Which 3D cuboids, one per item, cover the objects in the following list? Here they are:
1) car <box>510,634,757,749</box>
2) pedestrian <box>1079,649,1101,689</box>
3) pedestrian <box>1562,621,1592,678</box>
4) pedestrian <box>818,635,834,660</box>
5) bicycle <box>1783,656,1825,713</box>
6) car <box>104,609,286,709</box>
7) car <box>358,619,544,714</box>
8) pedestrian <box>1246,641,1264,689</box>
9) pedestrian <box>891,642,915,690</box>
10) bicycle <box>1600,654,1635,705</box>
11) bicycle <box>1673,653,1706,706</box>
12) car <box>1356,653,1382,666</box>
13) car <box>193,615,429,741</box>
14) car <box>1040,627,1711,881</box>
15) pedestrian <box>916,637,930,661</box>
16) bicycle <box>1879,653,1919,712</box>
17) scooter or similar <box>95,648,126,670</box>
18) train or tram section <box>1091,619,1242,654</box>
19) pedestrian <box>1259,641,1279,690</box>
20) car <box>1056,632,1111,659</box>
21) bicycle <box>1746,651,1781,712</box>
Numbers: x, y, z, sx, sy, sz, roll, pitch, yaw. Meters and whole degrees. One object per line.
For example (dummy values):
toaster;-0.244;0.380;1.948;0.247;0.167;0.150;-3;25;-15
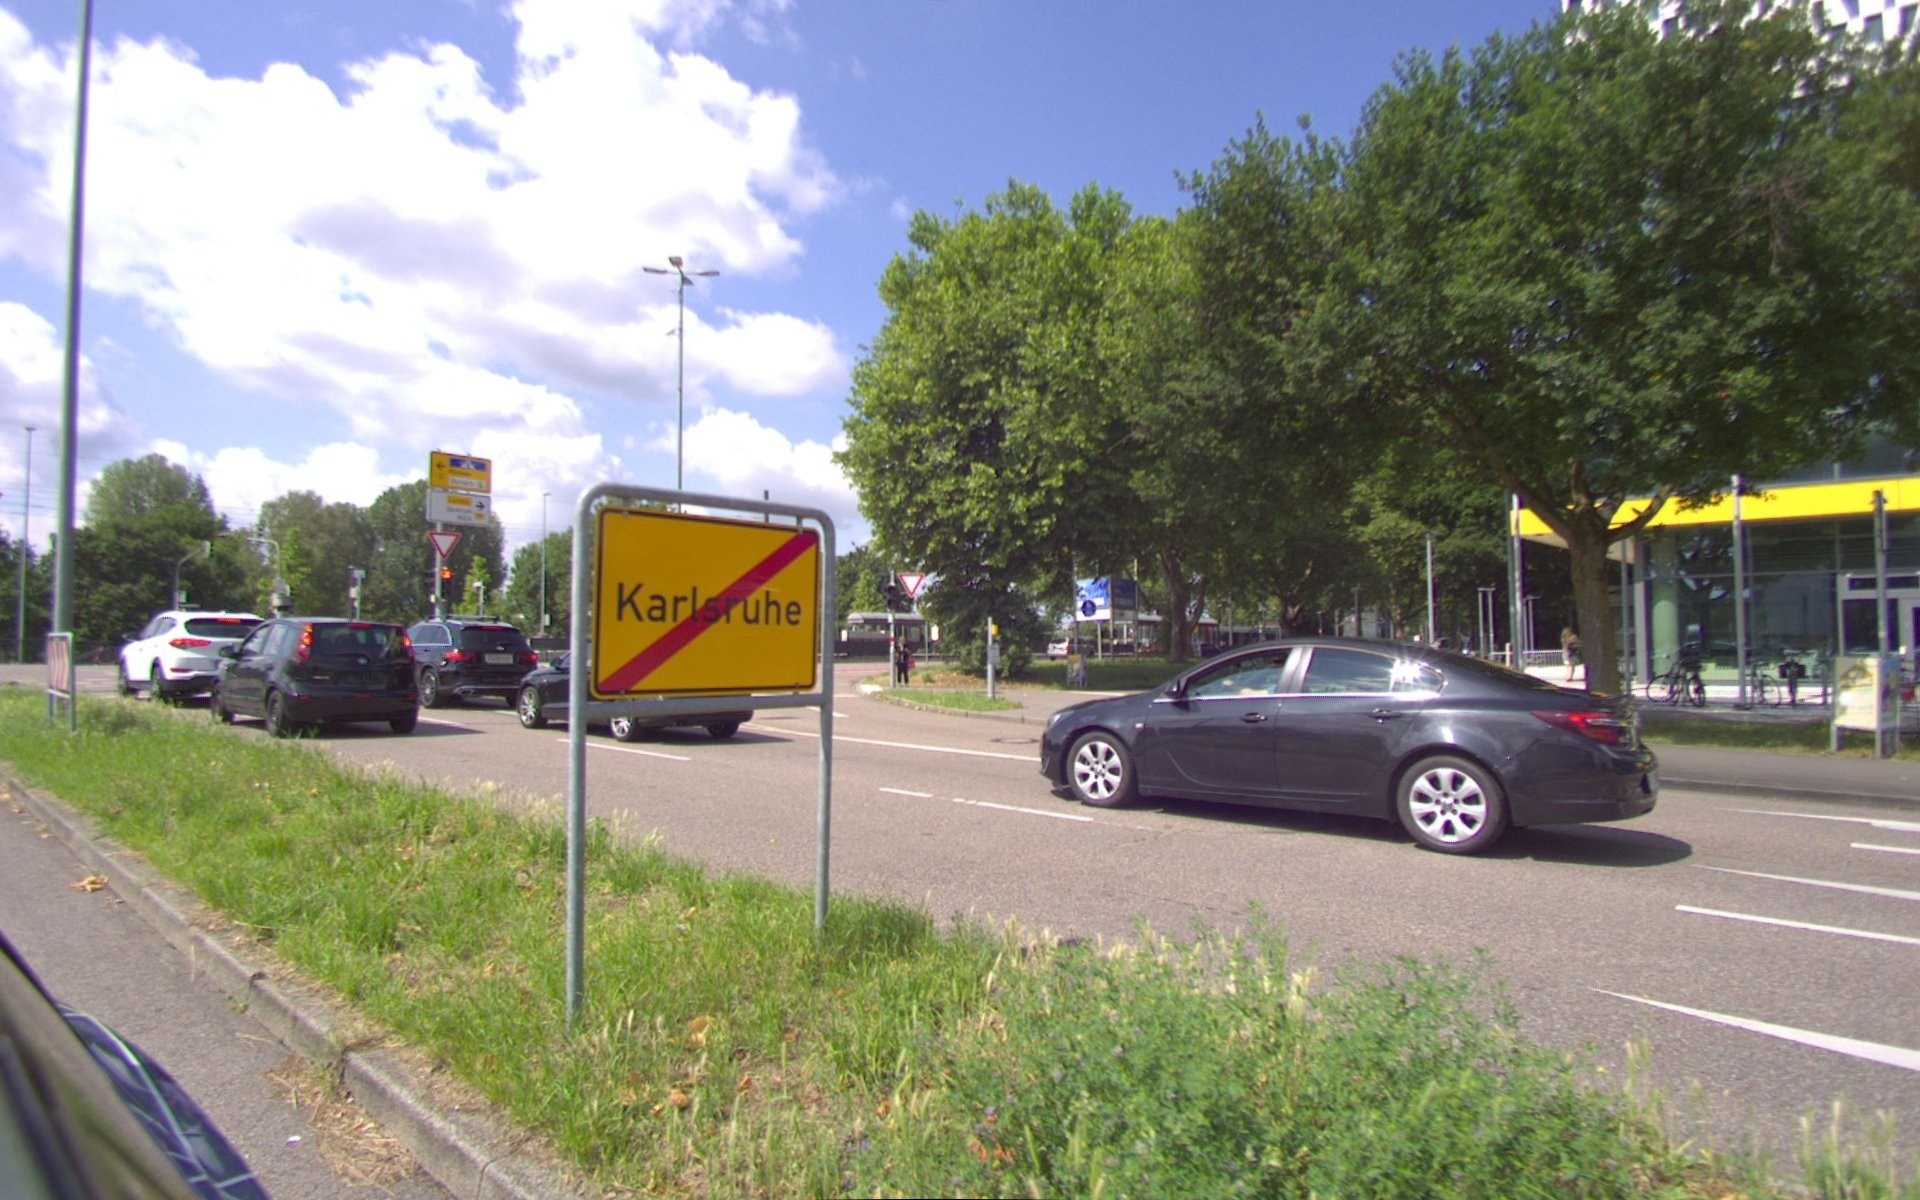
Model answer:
car;-4.713;1.215;14.307;4.094;1.402;1.396;-2;-5;42
pedestrian;4.473;2.368;34.815;0.538;1.334;0.485;-2;-3;42
pedestrian;19.032;1.525;31.215;0.709;1.719;0.887;-2;-3;36
pedestrian;-9.226;3.278;69.893;0.760;1.722;0.782;-2;-5;36
bicycle;17.441;1.717;20.930;0.528;1.078;1.916;-2;-3;37
car;-14.098;1.036;18.565;4.375;1.632;1.690;-1;-4;40
car;-9.878;1.231;19.531;3.998;1.628;1.752;0;-4;41
pedestrian;10.535;2.320;36.149;0.449;1.716;0.399;-3;-3;35
pedestrian;-1.800;2.069;31.889;0.616;1.502;0.435;-1;-3;25
bicycle;15.000;1.798;23.078;0.528;1.078;1.916;-2;-3;37
bicycle;15.904;1.704;22.043;0.528;1.078;1.916;-2;-3;37
car;49.690;7.249;122.988;1.997;1.608;3.950;-2;-4;37
car;-9.080;1.015;14.030;4.130;1.505;1.587;-2;-5;41
car;2.936;0.968;7.847;4.516;1.432;1.646;-2;-5;41
pedestrian;-2.908;3.824;78.798;0.759;1.867;0.783;-2;-4;33
bicycle;18.755;1.612;20.100;0.528;1.078;1.916;-2;-3;37
scooter or similar;-45.918;3.183;54.683;0.343;1.107;1.234;-3;-3;38
train or tram section;22.345;4.063;106.529;4.526;3.055;24.794;-3;-5;39
pedestrian;10.948;2.311;35.856;0.515;1.716;0.405;-3;-3;35
car;8.442;3.050;68.786;2.017;1.737;4.202;-3;-3;34
bicycle;16.821;1.690;21.205;0.467;1.181;1.937;-3;-3;37
